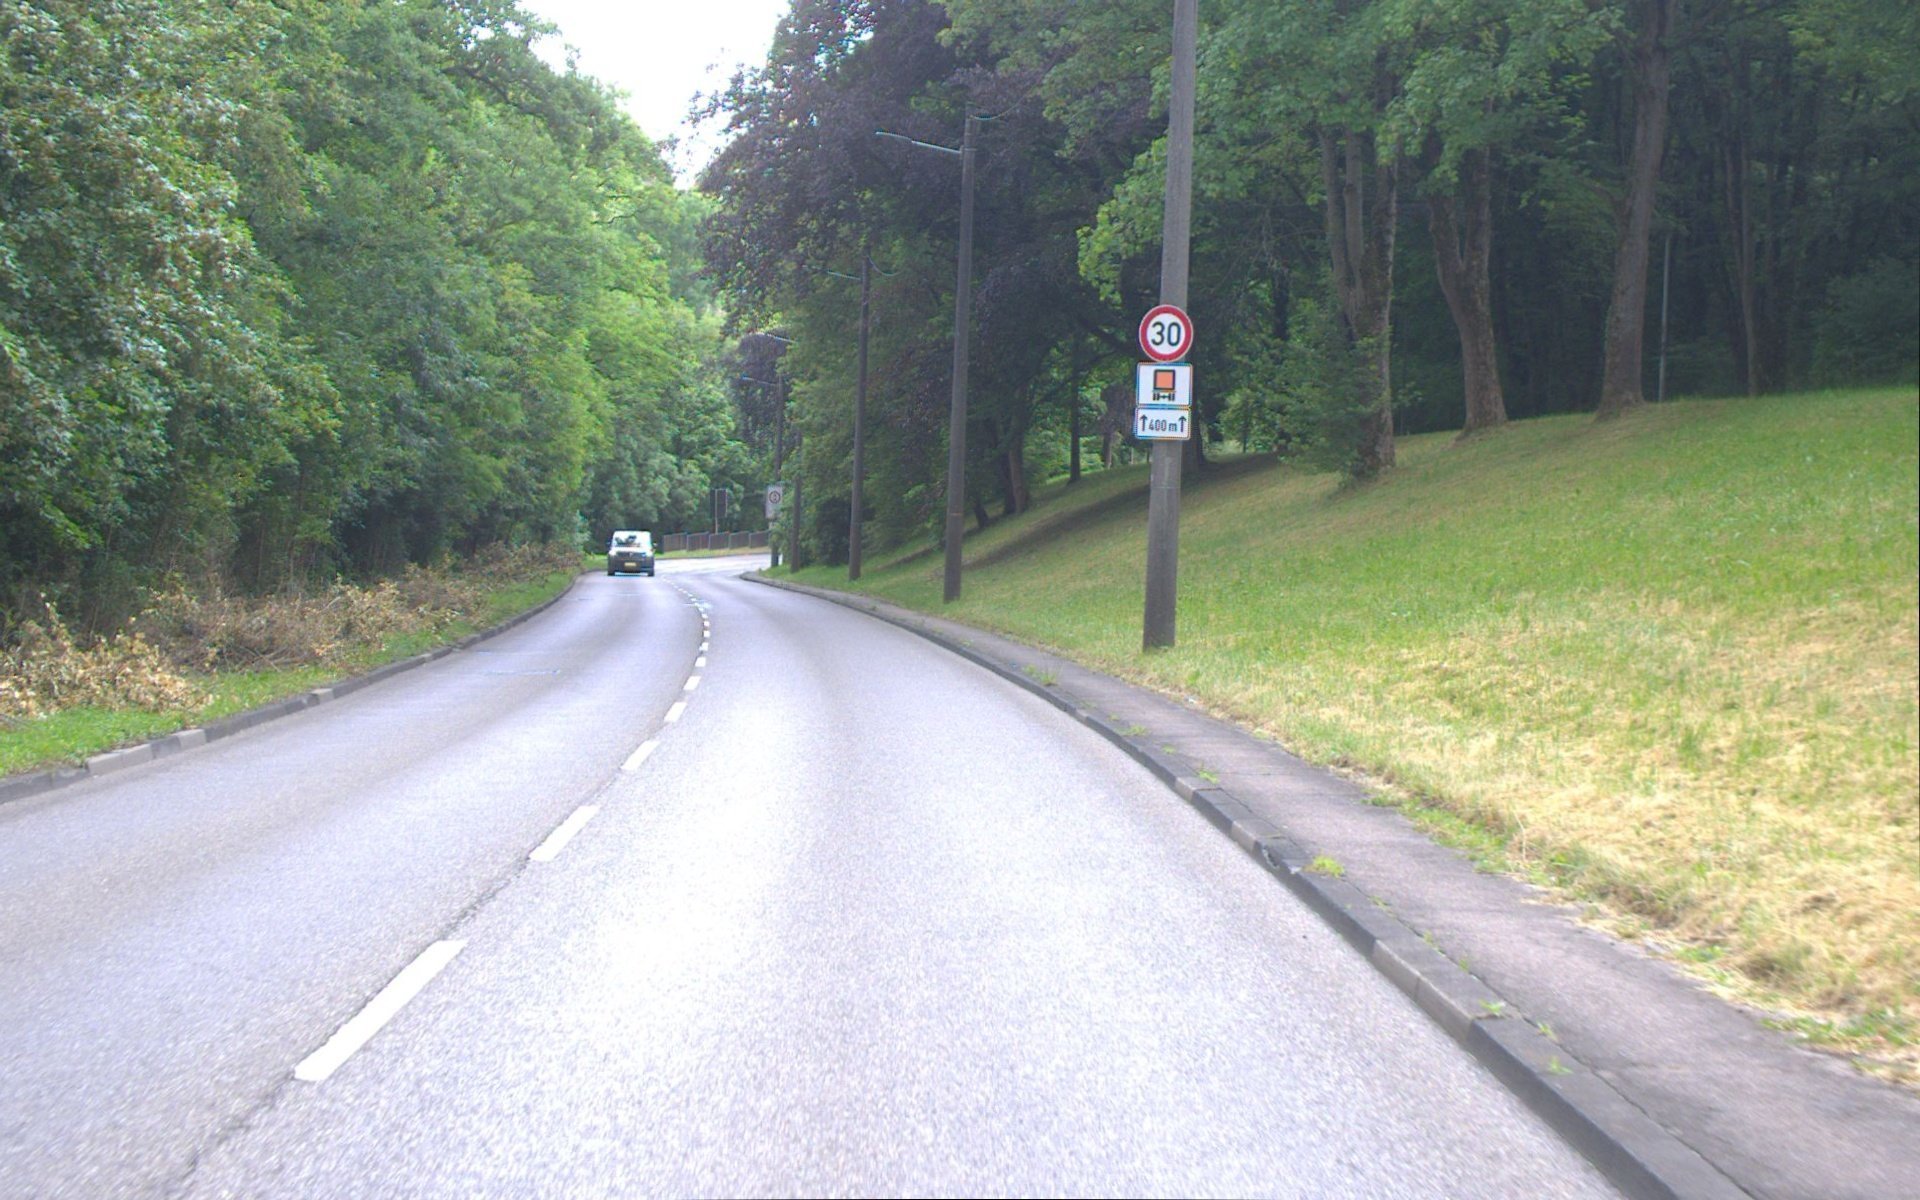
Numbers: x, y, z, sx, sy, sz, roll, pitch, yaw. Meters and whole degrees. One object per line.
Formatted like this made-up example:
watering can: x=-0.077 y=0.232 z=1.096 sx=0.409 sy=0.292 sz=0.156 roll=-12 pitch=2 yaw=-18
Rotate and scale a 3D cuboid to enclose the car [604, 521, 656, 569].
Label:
car: x=-13.689 y=-2.276 z=142.928 sx=1.993 sy=1.941 sz=4.946 roll=1 pitch=0 yaw=-4
